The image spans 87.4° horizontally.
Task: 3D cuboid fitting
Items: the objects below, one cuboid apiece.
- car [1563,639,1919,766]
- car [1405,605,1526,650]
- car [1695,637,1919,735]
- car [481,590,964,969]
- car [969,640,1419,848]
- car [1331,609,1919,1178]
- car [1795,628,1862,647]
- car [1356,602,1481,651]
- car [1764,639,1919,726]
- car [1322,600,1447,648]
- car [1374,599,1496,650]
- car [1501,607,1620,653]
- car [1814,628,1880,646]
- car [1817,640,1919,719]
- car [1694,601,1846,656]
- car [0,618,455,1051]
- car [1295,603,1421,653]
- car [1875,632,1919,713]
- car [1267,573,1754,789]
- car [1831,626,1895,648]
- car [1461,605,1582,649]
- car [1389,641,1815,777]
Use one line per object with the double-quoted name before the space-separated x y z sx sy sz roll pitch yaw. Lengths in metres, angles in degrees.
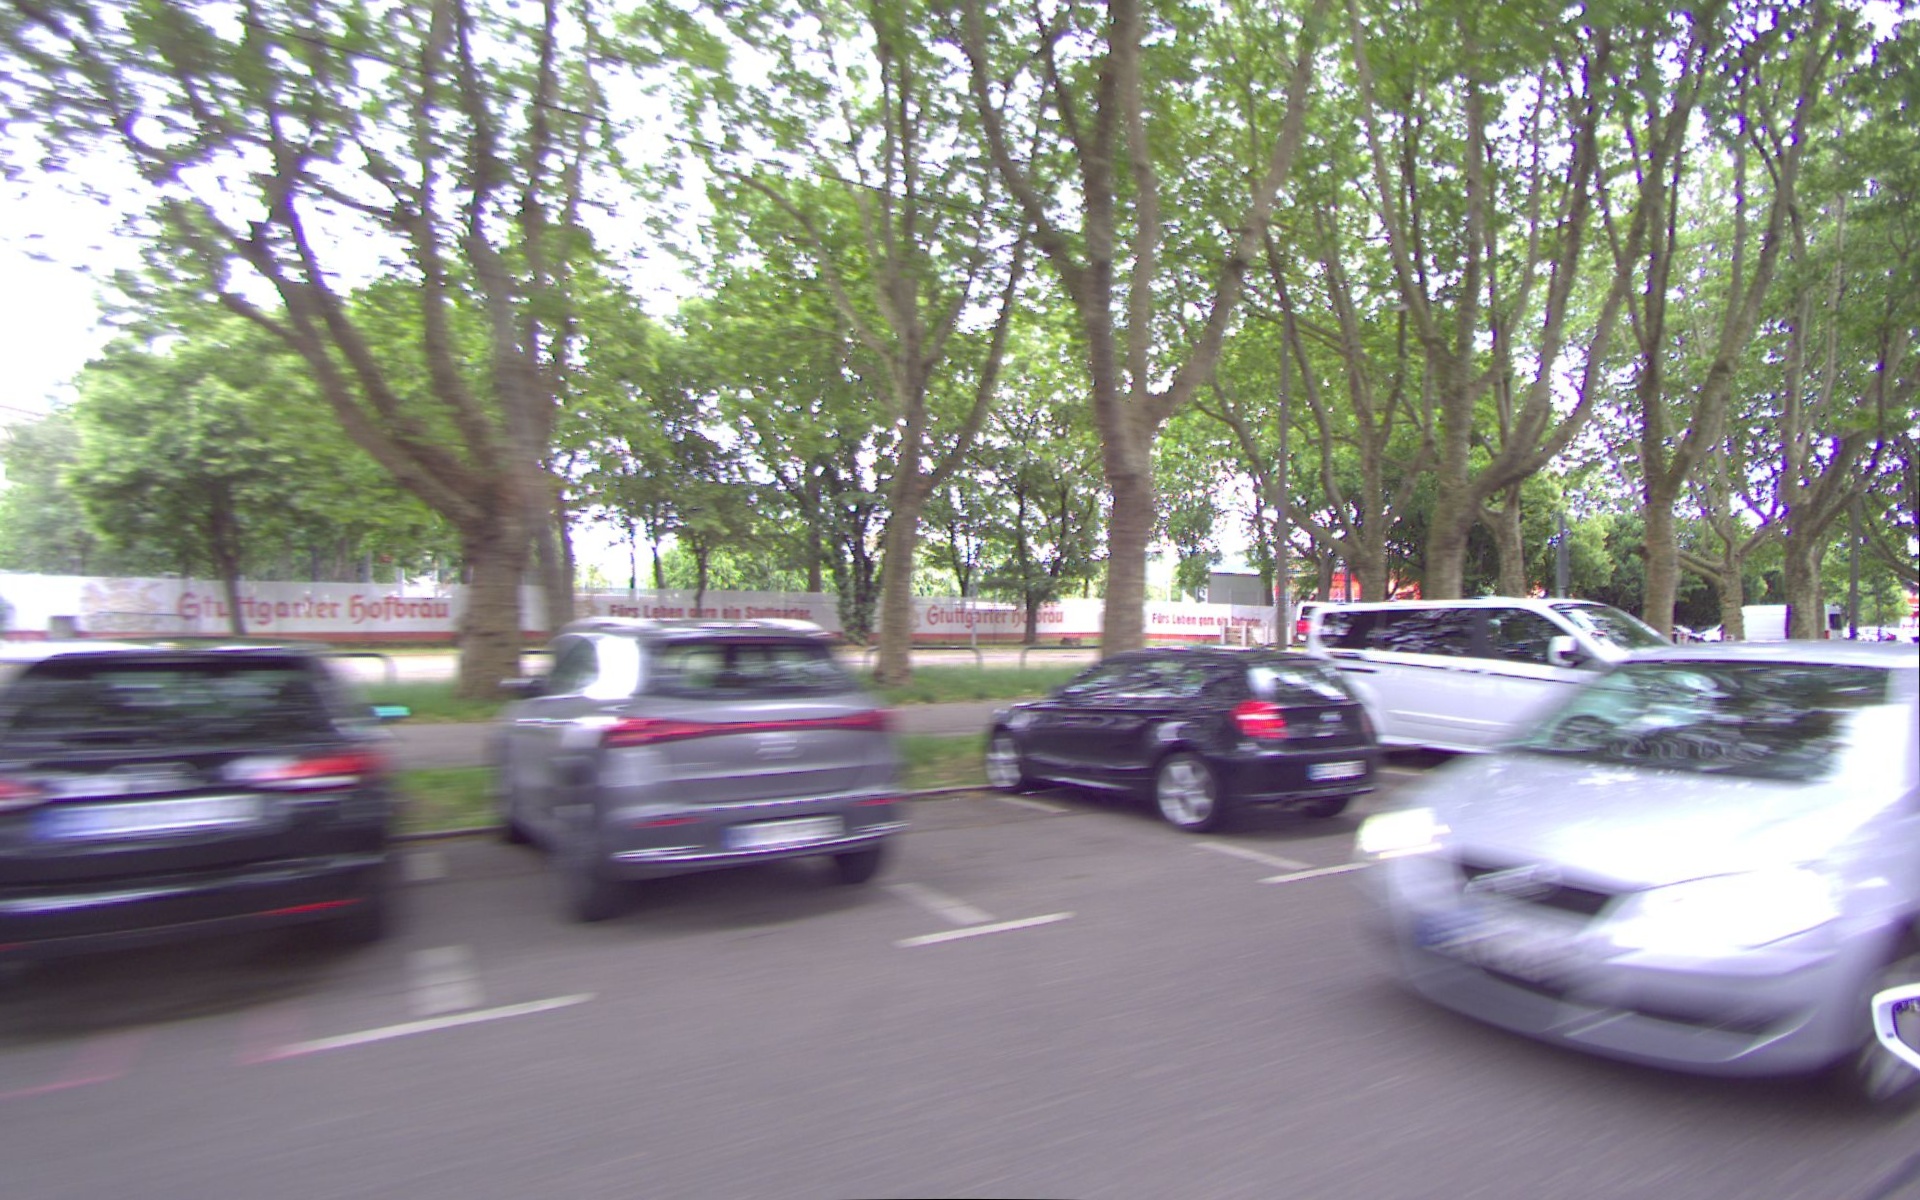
"car" 11.049 1.294 13.890 1.750 1.471 4.436 1 -3 -25
"car" 28.148 1.496 56.187 1.976 2.270 5.973 1 0 -30
"car" 14.720 1.363 16.509 1.520 1.490 3.974 1 -3 -32
"car" -1.942 0.932 6.875 1.978 1.689 4.319 1 -4 -31
"car" 1.838 1.122 9.111 1.664 1.431 3.967 1 -4 -32
"car" 3.559 0.837 4.387 3.797 1.490 1.680 1 -3 -32
"car" 69.056 2.999 79.897 1.518 1.367 3.736 1 0 -31
"car" 24.144 1.346 53.205 1.976 2.349 5.973 1 0 -30
"car" 17.059 1.449 17.996 1.843 1.493 3.738 1 -3 -31
"car" 21.834 1.190 51.950 1.976 2.282 5.973 1 0 -30
"car" 25.980 1.287 55.221 1.976 2.560 5.973 1 0 -30
"car" 36.420 1.769 61.137 1.976 2.560 5.973 1 0 -30
"car" 72.236 2.991 81.832 1.519 1.367 3.734 1 0 -32
"car" 19.039 1.508 19.137 1.676 1.490 3.806 1 -3 -32
"car" 41.565 1.422 51.716 1.976 2.632 5.760 1 0 -29
"car" -3.948 0.924 5.452 1.822 1.495 3.967 1 -4 -32
"car" 19.881 1.348 50.528 1.976 2.282 5.973 1 0 -30
"car" 21.116 1.456 20.082 1.932 1.649 3.806 1 -3 -32
"car" 6.241 0.888 12.124 1.897 2.045 4.871 1 -3 -30
"car" 75.035 3.066 83.514 1.519 1.611 3.734 1 0 -32
"car" 32.408 1.519 58.218 1.976 2.361 5.973 1 0 -30
"car" 8.173 1.292 13.277 1.754 1.471 4.428 1 -3 -30
